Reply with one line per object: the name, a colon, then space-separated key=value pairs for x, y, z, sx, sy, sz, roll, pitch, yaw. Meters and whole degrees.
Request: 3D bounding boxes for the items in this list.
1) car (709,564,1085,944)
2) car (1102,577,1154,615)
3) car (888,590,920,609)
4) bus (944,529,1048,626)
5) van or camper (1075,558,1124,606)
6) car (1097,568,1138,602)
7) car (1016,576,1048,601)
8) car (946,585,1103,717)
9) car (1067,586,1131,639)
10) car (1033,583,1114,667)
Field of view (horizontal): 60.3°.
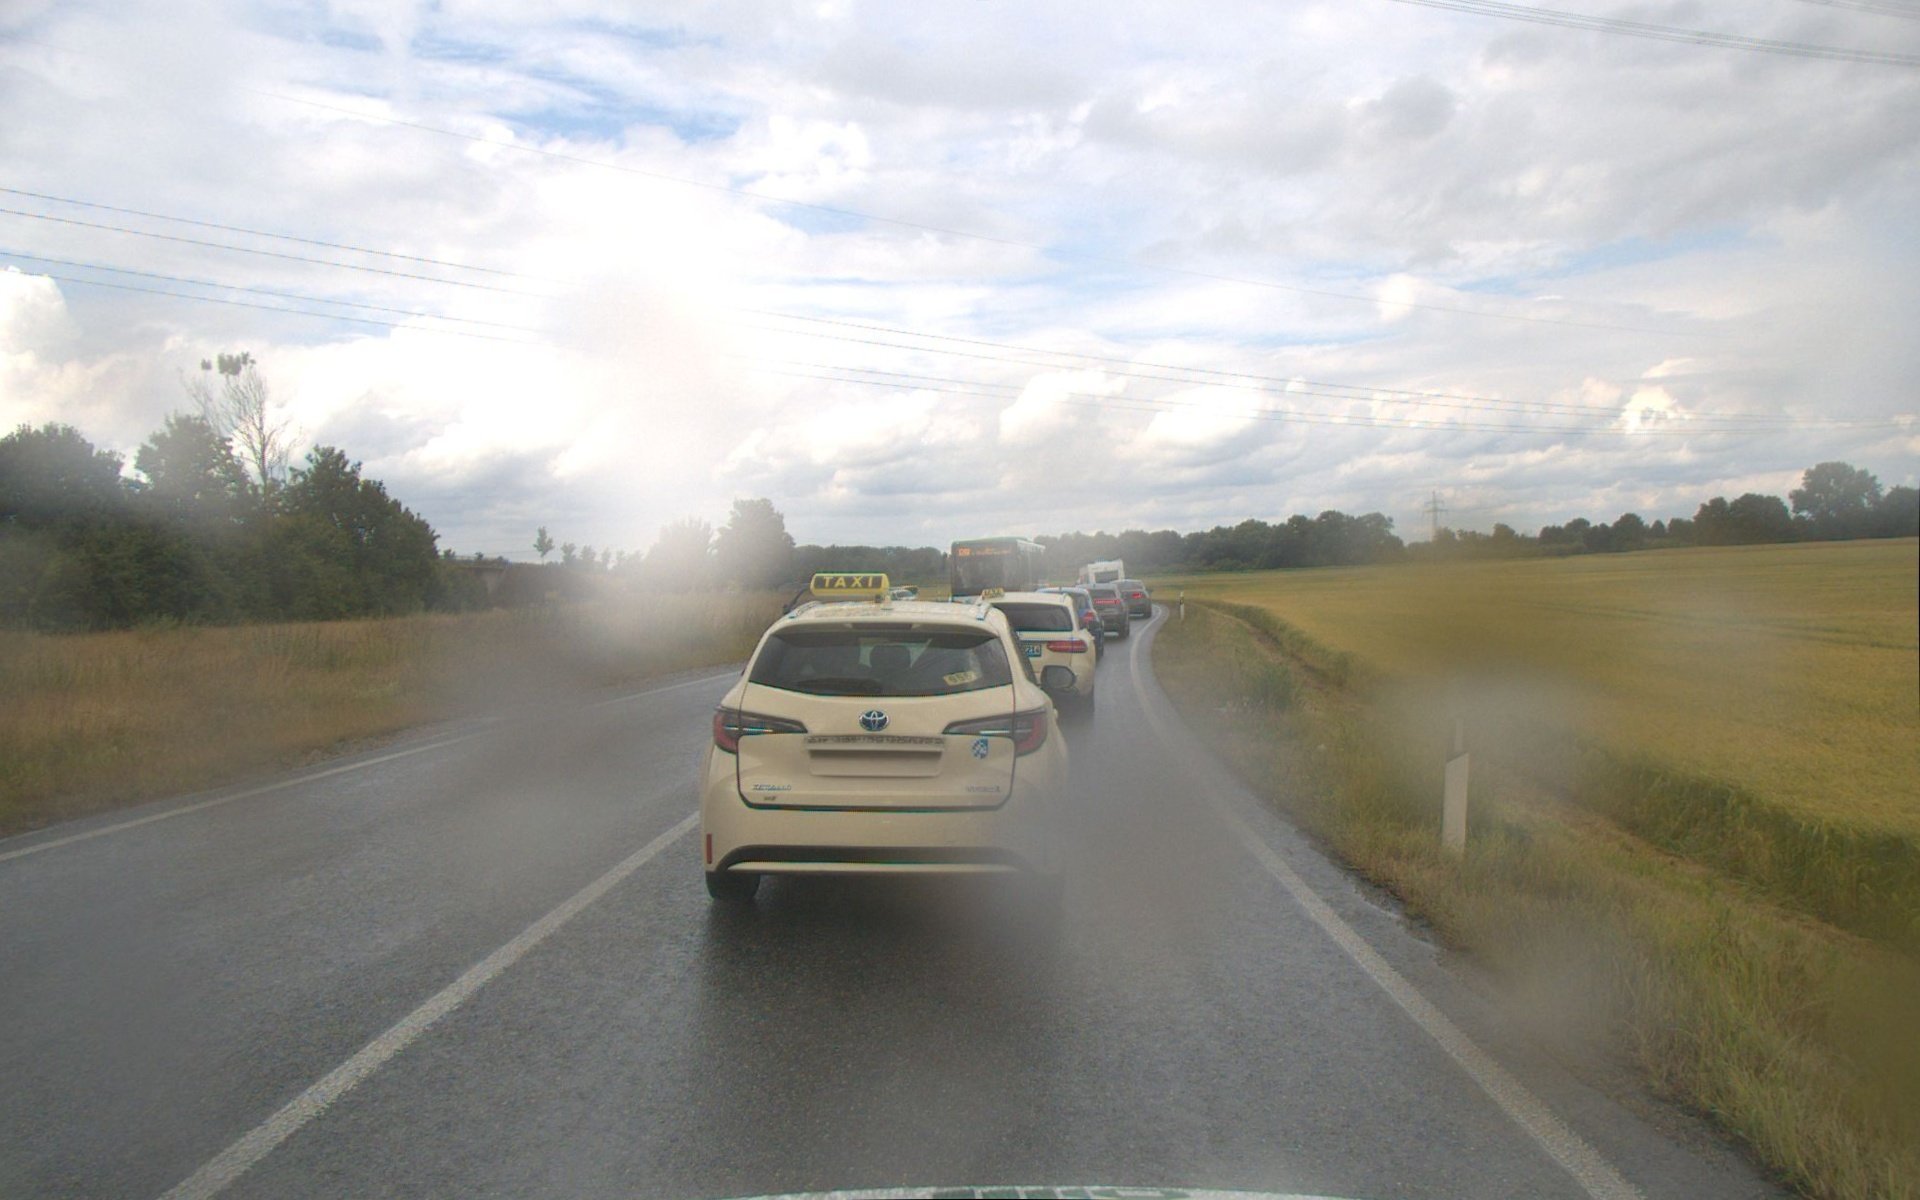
car: x=-0.205 y=0.672 z=8.857 sx=1.579 sy=1.590 sz=3.739 roll=0 pitch=-1 yaw=2
car: x=6.800 y=-0.137 z=66.768 sx=1.918 sy=1.438 sz=4.395 roll=0 pitch=-1 yaw=8
car: x=-5.394 y=-0.036 z=158.101 sx=1.856 sy=1.804 sz=4.134 roll=1 pitch=-1 yaw=-21
bus: x=1.586 y=-0.833 z=64.141 sx=2.699 sy=3.355 sz=12.512 roll=0 pitch=0 yaw=8
van or camper: x=8.950 y=-1.139 z=106.594 sx=2.485 sy=2.946 sz=6.742 roll=0 pitch=0 yaw=-1
car: x=8.723 y=-0.805 z=91.916 sx=1.919 sy=1.759 sz=3.738 roll=0 pitch=-1 yaw=1
car: x=3.953 y=-0.606 z=91.393 sx=1.683 sy=1.273 sz=4.000 roll=0 pitch=-1 yaw=1
car: x=0.950 y=0.575 z=21.625 sx=1.802 sy=1.518 sz=4.611 roll=0 pitch=0 yaw=5
car: x=3.973 y=0.365 z=46.800 sx=1.578 sy=1.438 sz=3.741 roll=0 pitch=-1 yaw=8
car: x=2.492 y=0.534 z=35.662 sx=1.578 sy=1.688 sz=3.741 roll=0 pitch=-1 yaw=6
